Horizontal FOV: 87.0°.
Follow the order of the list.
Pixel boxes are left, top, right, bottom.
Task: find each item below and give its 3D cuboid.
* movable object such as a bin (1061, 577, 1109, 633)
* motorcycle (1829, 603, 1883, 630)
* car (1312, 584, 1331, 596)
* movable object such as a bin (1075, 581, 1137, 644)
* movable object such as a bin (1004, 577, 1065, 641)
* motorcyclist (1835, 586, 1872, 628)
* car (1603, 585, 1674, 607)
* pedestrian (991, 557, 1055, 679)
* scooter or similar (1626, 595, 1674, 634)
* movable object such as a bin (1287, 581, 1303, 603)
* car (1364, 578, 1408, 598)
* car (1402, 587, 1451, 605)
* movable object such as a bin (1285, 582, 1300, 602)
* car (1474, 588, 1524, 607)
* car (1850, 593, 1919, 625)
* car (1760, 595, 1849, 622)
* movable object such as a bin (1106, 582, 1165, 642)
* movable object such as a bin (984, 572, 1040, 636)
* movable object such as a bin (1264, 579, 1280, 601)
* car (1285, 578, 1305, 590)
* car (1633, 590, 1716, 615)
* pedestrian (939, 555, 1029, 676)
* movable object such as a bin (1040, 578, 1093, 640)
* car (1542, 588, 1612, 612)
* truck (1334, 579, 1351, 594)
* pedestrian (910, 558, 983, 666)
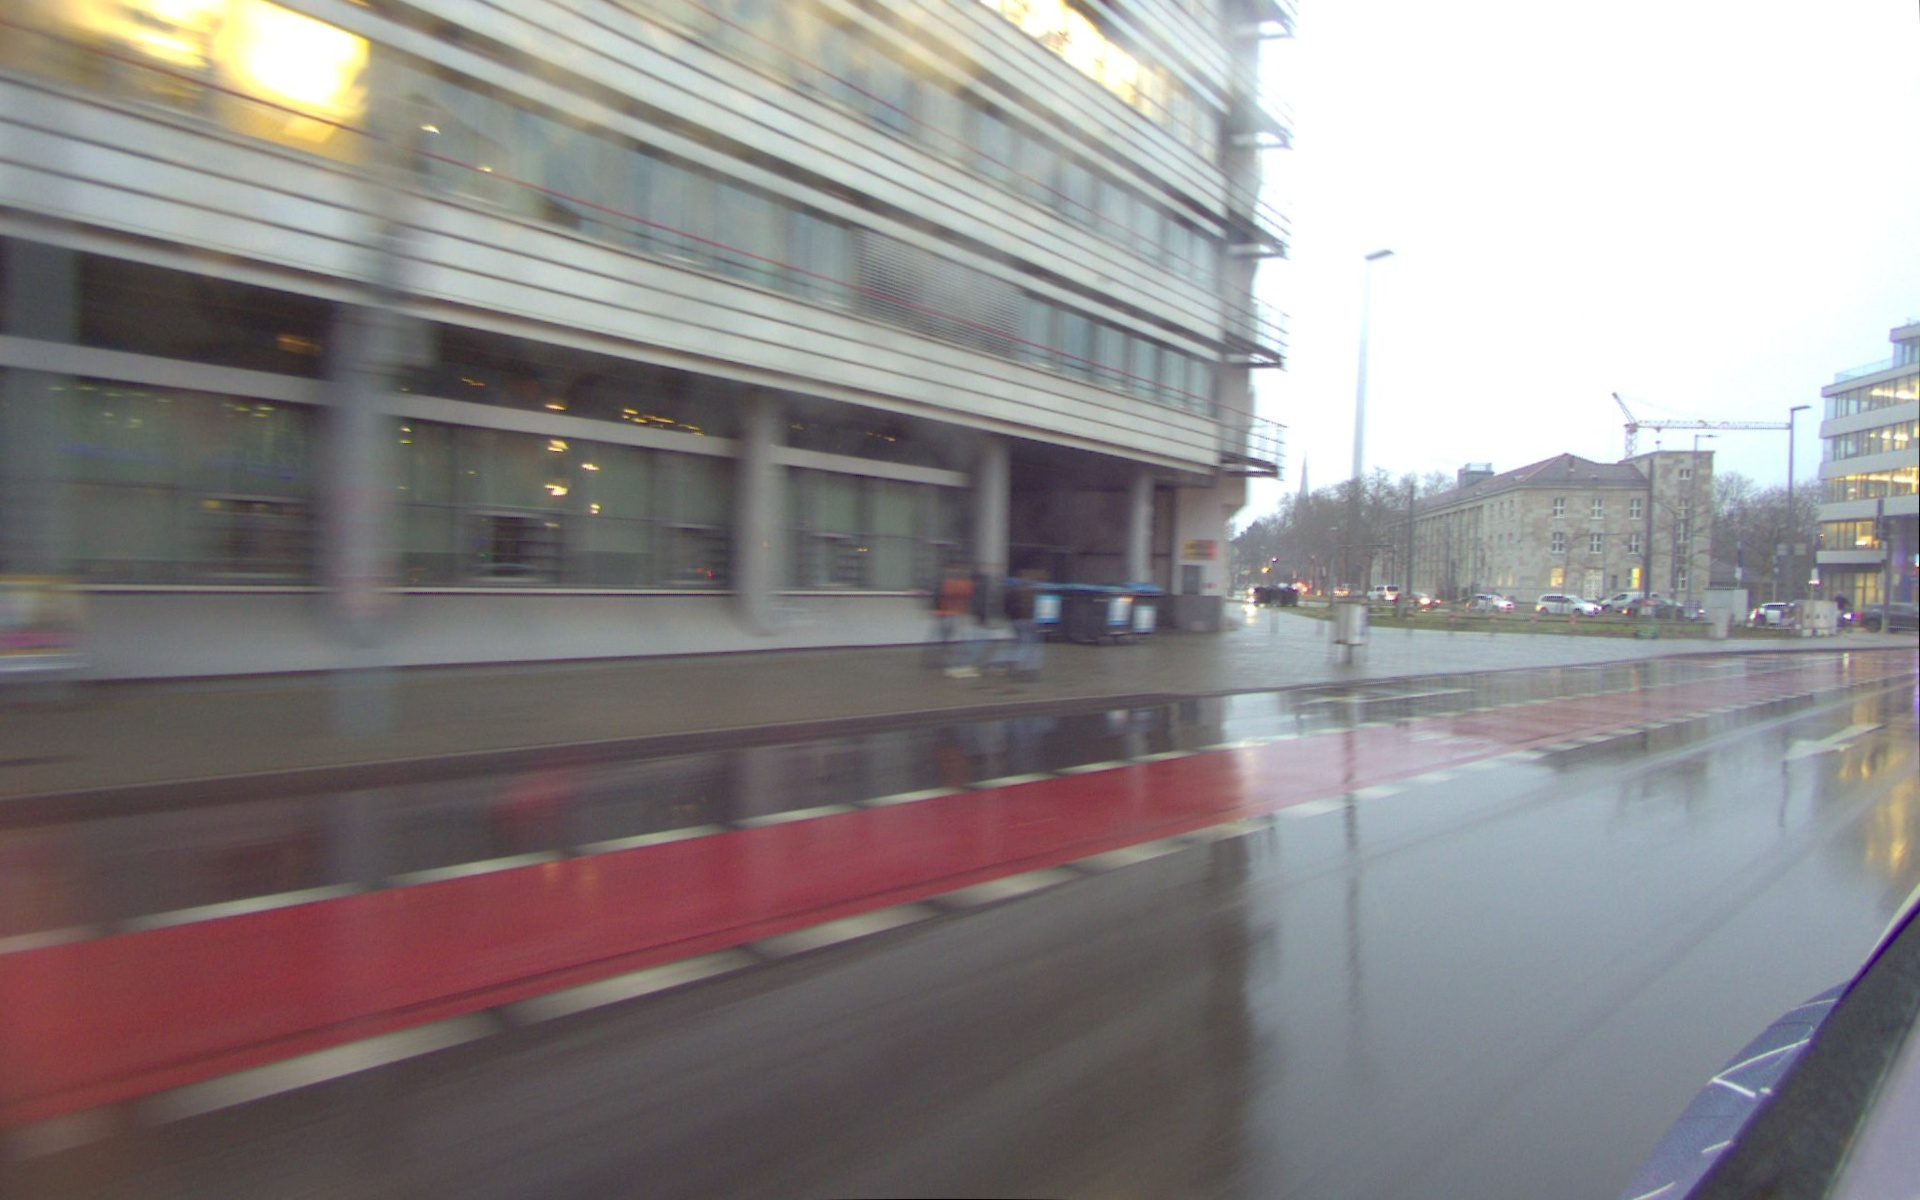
[{"bbox_3d":[3.090,0.115,25.056,0.728,1.321,0.950,4,3,39],"label":"movable object such as a bin"},{"bbox_3d":[42.029,0.754,47.516,0.475,1.198,2.407,1,1,4],"label":"motorcycle"},{"bbox_3d":[44.398,-1.263,124.360,1.726,1.387,3.602,2,1,12],"label":"car"},{"bbox_3d":[3.233,0.263,22.350,0.843,1.310,1.152,4,3,39],"label":"movable object such as a bin"},{"bbox_3d":[1.633,0.188,22.162,0.864,1.310,0.998,4,3,39],"label":"movable object such as a bin"},{"bbox_3d":[41.920,0.313,47.491,0.870,1.905,0.921,1,1,1],"label":"motorcyclist"},{"bbox_3d":[57.154,-0.377,85.354,1.892,1.740,4.613,0,1,-32],"label":"car"},{"bbox_3d":[0.900,0.240,14.519,0.732,1.703,0.532,0,1,-41],"label":"pedestrian"},{"bbox_3d":[23.193,0.461,34.012,1.525,1.241,0.671,-1,2,-28],"label":"scooter or similar"},{"bbox_3d":[24.783,-0.596,74.845,1.038,1.529,1.247,2,1,16],"label":"movable object such as a bin"},{"bbox_3d":[48.780,-1.389,116.064,1.913,2.084,5.671,1,1,-9],"label":"car"},{"bbox_3d":[41.360,-0.363,89.785,1.839,1.493,4.178,0,1,-10],"label":"car"},{"bbox_3d":[25.079,-0.584,76.342,1.038,1.450,1.219,2,1,16],"label":"movable object such as a bin"},{"bbox_3d":[43.894,-0.237,82.472,1.655,1.448,3.354,0,2,-22],"label":"car"},{"bbox_3d":[52.391,0.497,56.221,1.863,1.619,4.016,1,1,-20],"label":"car"},{"bbox_3d":[52.923,0.510,63.487,1.728,1.481,3.923,-1,2,-29],"label":"car"},{"bbox_3d":[4.060,0.259,23.380,0.843,1.310,1.152,4,3,39],"label":"movable object such as a bin"},{"bbox_3d":[1.188,0.076,23.132,0.728,1.399,1.064,4,3,39],"label":"movable object such as a bin"},{"bbox_3d":[23.225,-0.759,75.393,1.038,1.595,1.135,2,1,16],"label":"movable object such as a bin"},{"bbox_3d":[55.241,-2.645,166.943,1.870,1.894,4.961,-1,2,3],"label":"car"},{"bbox_3d":[49.470,0.174,70.207,1.789,1.589,4.370,1,1,-25],"label":"car"},{"bbox_3d":[0.352,0.201,14.928,1.050,1.707,0.794,0,1,-41],"label":"pedestrian"},{"bbox_3d":[2.424,0.193,22.991,0.728,1.321,0.950,4,3,39],"label":"movable object such as a bin"},{"bbox_3d":[46.534,-0.019,76.414,1.642,1.619,4.231,1,1,-25],"label":"car"},{"bbox_3d":[55.306,-1.926,146.401,1.811,2.070,3.985,2,1,13],"label":"truck"},{"bbox_3d":[-0.211,0.168,16.051,0.886,1.645,0.727,0,1,-41],"label":"pedestrian"}]
